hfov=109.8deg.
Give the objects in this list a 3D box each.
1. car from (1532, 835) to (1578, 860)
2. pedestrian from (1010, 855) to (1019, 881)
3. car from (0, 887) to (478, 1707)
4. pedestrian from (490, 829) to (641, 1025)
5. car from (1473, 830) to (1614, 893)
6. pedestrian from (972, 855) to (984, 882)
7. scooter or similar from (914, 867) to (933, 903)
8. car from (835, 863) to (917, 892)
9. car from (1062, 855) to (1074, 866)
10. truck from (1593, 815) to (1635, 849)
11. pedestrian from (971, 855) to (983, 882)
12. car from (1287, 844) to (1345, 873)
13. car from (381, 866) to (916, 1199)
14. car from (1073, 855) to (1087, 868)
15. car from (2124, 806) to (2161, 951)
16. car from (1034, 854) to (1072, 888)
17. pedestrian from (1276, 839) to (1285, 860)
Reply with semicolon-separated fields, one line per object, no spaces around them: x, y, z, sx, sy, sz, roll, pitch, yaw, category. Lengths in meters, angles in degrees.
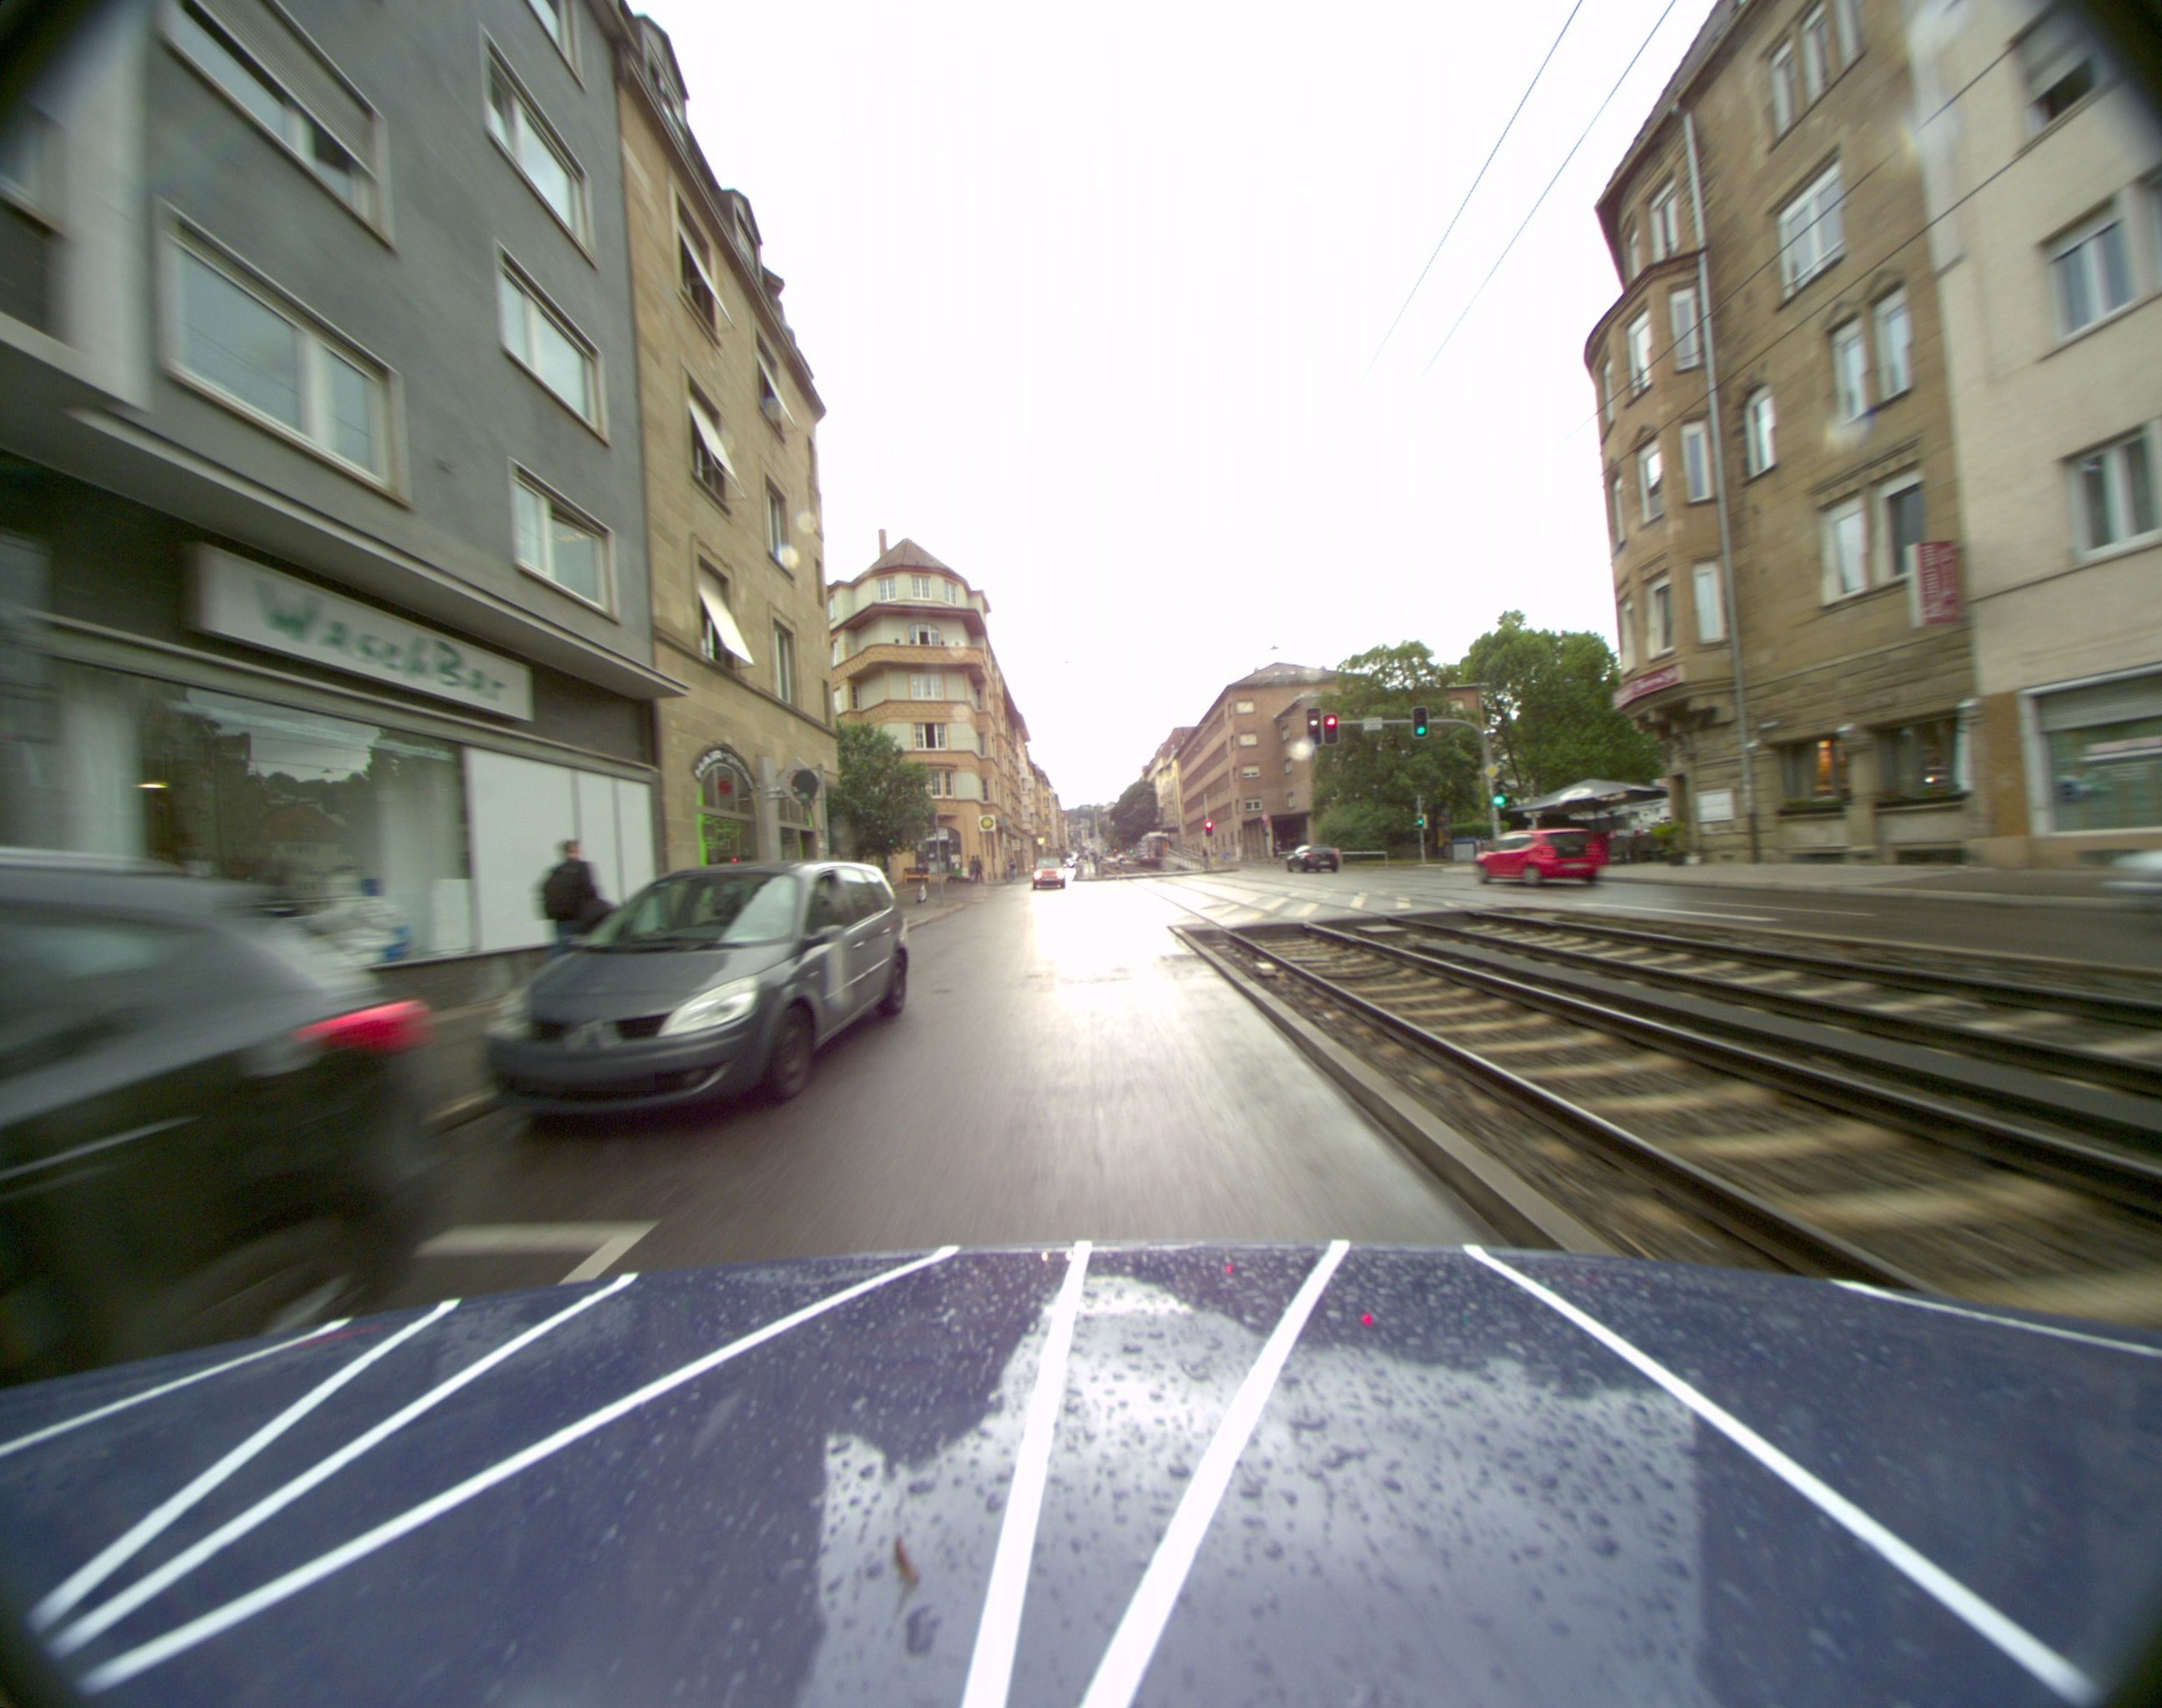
35.761;-0.499;57.315;4.007;1.635;1.834;-3;0;-41;car
-4.330;0.928;49.734;0.437;1.642;0.579;-3;1;-1;pedestrian
-2.872;0.950;0.311;1.822;1.645;4.250;-1;0;0;car
-5.047;0.684;7.495;0.852;1.807;0.847;-1;1;0;pedestrian
12.050;0.182;20.064;1.631;1.442;3.387;-3;0;1;car
-6.135;0.843;45.420;0.579;1.563;0.438;-3;1;-1;pedestrian
-5.517;1.072;26.719;0.423;1.171;1.454;-3;0;-5;scooter or similar
-10.616;1.213;39.487;3.799;1.271;1.587;-3;0;0;car
-2.485;1.216;146.984;2.135;2.002;4.328;-3;0;1;car
49.313;-2.079;70.280;2.699;2.900;6.813;-3;0;38;truck
-6.281;0.864;45.841;0.579;1.563;0.397;-3;1;0;pedestrian
12.047;0.216;39.189;1.781;1.328;3.945;-3;0;1;car
-2.710;0.956;6.165;1.715;1.604;4.518;-1;0;0;car
-0.154;1.293;129.414;2.135;2.002;4.328;-3;0;1;car
11.677;0.214;5.565;1.717;1.452;4.643;-3;0;1;car
-1.378;0.803;38.210;1.683;1.531;4.018;-2;0;0;car
16.431;-0.382;62.579;0.623;1.736;0.464;-1;1;-3;pedestrian
